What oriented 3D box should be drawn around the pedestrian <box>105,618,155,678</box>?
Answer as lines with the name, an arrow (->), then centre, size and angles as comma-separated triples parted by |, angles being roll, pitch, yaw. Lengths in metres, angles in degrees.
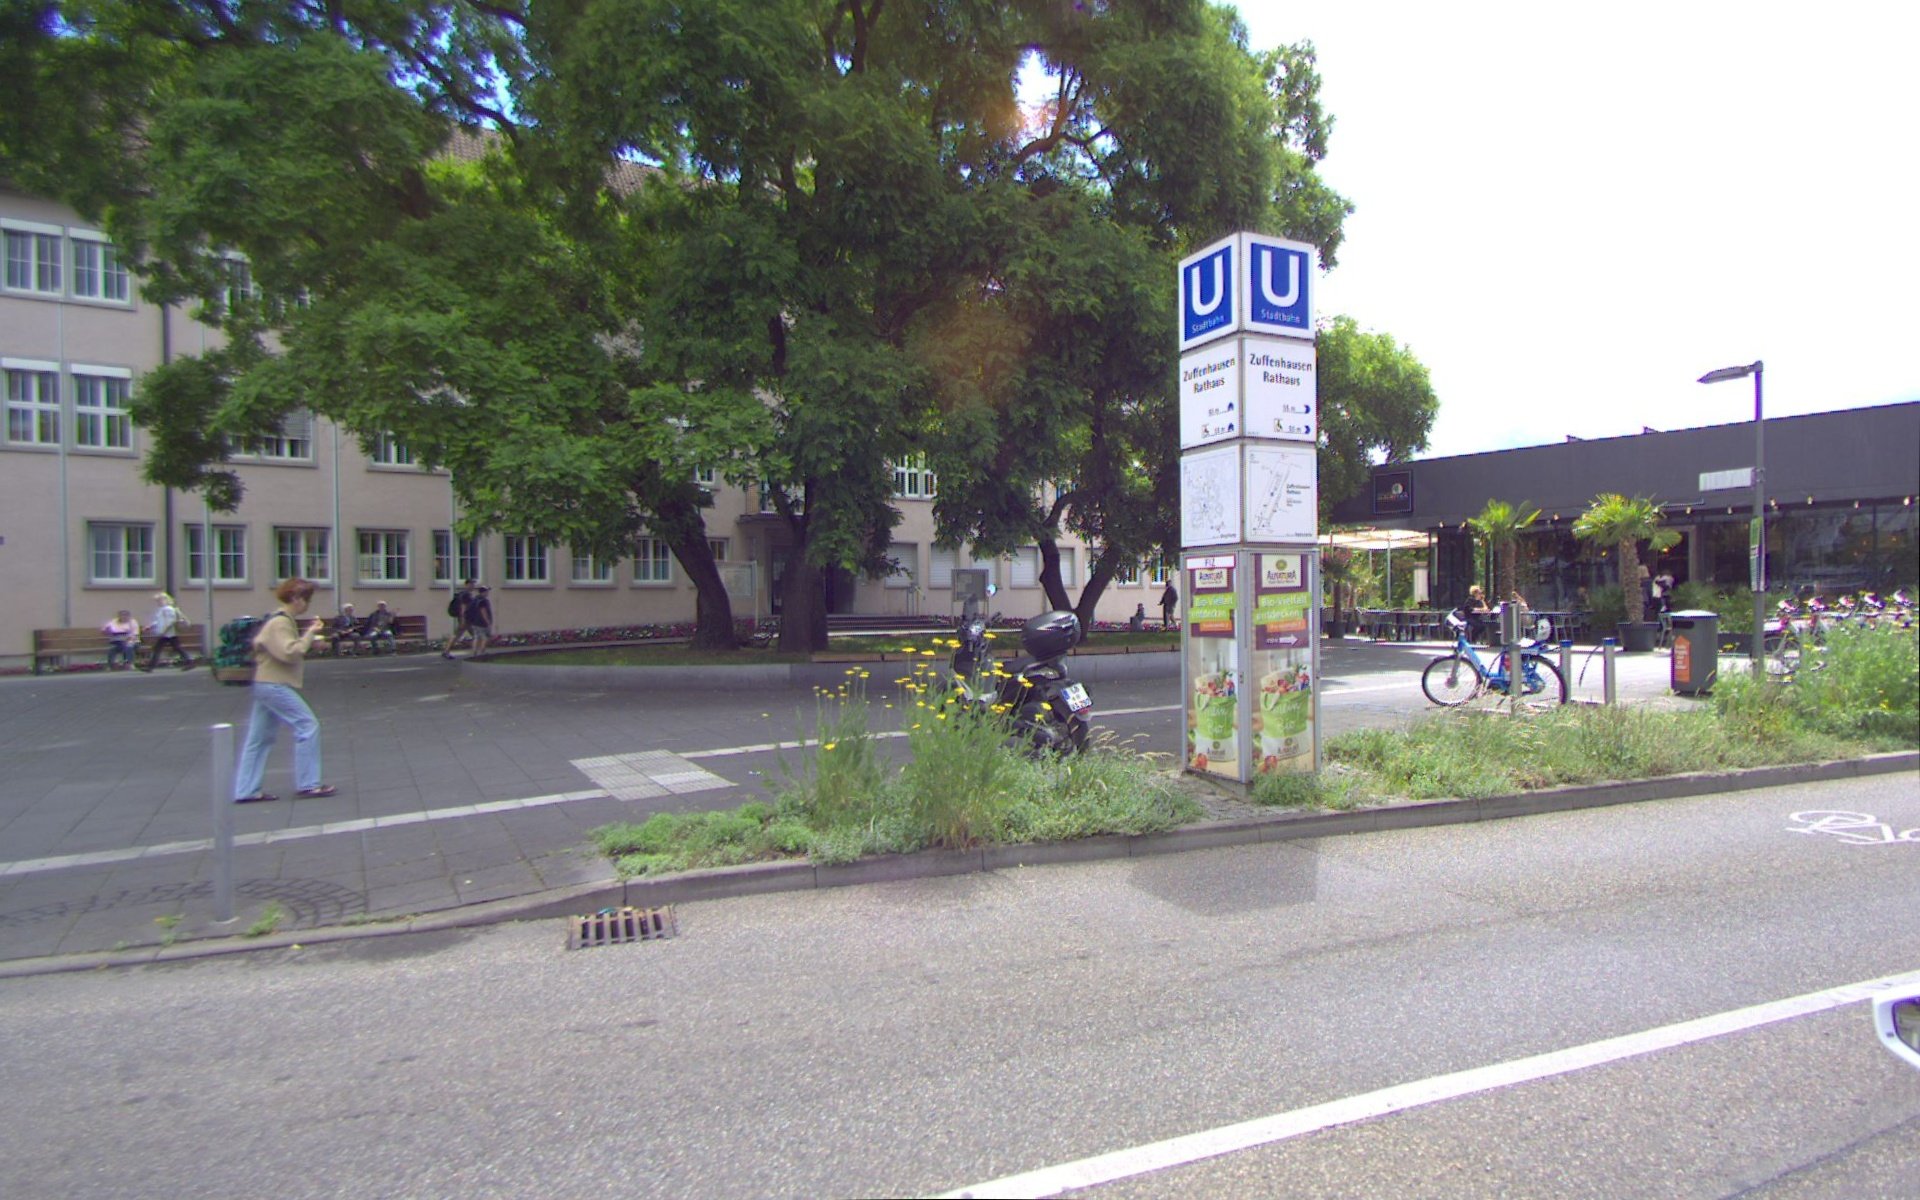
pedestrian -> -17.598, 1.002, 21.305 | 0.683, 1.191, 0.810 | -1, 1, -32

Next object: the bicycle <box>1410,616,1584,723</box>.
bicycle -> 5.951, 0.730, 11.227 | 0.509, 1.096, 1.677 | -2, 0, -31

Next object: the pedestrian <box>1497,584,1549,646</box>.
pedestrian -> 12.954, 0.342, 23.107 | 0.786, 1.398, 0.791 | 2, 0, -40

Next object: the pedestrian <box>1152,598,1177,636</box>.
pedestrian -> 7.322, 0.604, 36.040 | 0.586, 1.356, 0.639 | 2, 0, -28

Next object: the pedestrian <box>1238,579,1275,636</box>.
pedestrian -> 8.304, 0.206, 28.135 | 0.636, 1.585, 0.731 | 2, 0, -28

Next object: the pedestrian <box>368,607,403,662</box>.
pedestrian -> -13.630, 0.809, 23.827 | 0.683, 1.243, 0.810 | -1, 1, -32

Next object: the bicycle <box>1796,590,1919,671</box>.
bicycle -> 13.450, 0.442, 14.898 | 0.527, 1.142, 1.541 | 0, -1, -27

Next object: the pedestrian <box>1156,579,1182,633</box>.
pedestrian -> 7.295, 0.205, 35.085 | 0.586, 1.832, 0.639 | 2, 0, -28

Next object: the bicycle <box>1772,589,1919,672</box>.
bicycle -> 12.831, 0.435, 14.585 | 0.527, 1.142, 1.541 | 0, -1, -27

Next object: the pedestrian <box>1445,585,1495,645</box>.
pedestrian -> 12.212, 0.352, 24.052 | 0.786, 1.398, 0.791 | 2, 0, -40

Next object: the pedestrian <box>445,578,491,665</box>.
pedestrian -> -10.877, 0.452, 22.196 | 0.866, 1.875, 0.657 | -1, 1, -27

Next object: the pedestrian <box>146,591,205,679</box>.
pedestrian -> -15.668, 0.682, 20.070 | 0.808, 1.698, 0.685 | -1, 1, -31

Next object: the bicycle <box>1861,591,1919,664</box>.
bicycle -> 15.171, 0.429, 15.702 | 0.527, 1.142, 1.541 | 0, -1, -27

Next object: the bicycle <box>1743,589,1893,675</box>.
bicycle -> 12.119, 0.439, 14.236 | 0.527, 1.142, 1.541 | 0, -1, -27

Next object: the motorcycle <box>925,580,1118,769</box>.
motorcycle -> 0.470, 0.605, 8.897 | 0.640, 1.469, 2.180 | 2, -2, -28

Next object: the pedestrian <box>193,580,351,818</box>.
pedestrian -> -5.063, 0.689, 7.445 | 0.787, 1.651, 0.659 | -1, 1, -20

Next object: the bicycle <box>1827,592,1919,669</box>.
bicycle -> 14.230, 0.458, 15.245 | 0.527, 1.142, 1.541 | 0, -1, -27

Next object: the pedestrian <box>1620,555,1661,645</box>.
pedestrian -> 15.948, -0.003, 23.545 | 0.664, 2.079, 0.625 | 2, 0, -43

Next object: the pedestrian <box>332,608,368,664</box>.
pedestrian -> -14.248, 0.824, 23.451 | 0.683, 1.243, 0.810 | -1, 1, -32

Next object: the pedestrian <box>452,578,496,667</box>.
pedestrian -> -10.454, 0.463, 21.607 | 0.818, 1.875, 0.657 | -1, 1, -27
